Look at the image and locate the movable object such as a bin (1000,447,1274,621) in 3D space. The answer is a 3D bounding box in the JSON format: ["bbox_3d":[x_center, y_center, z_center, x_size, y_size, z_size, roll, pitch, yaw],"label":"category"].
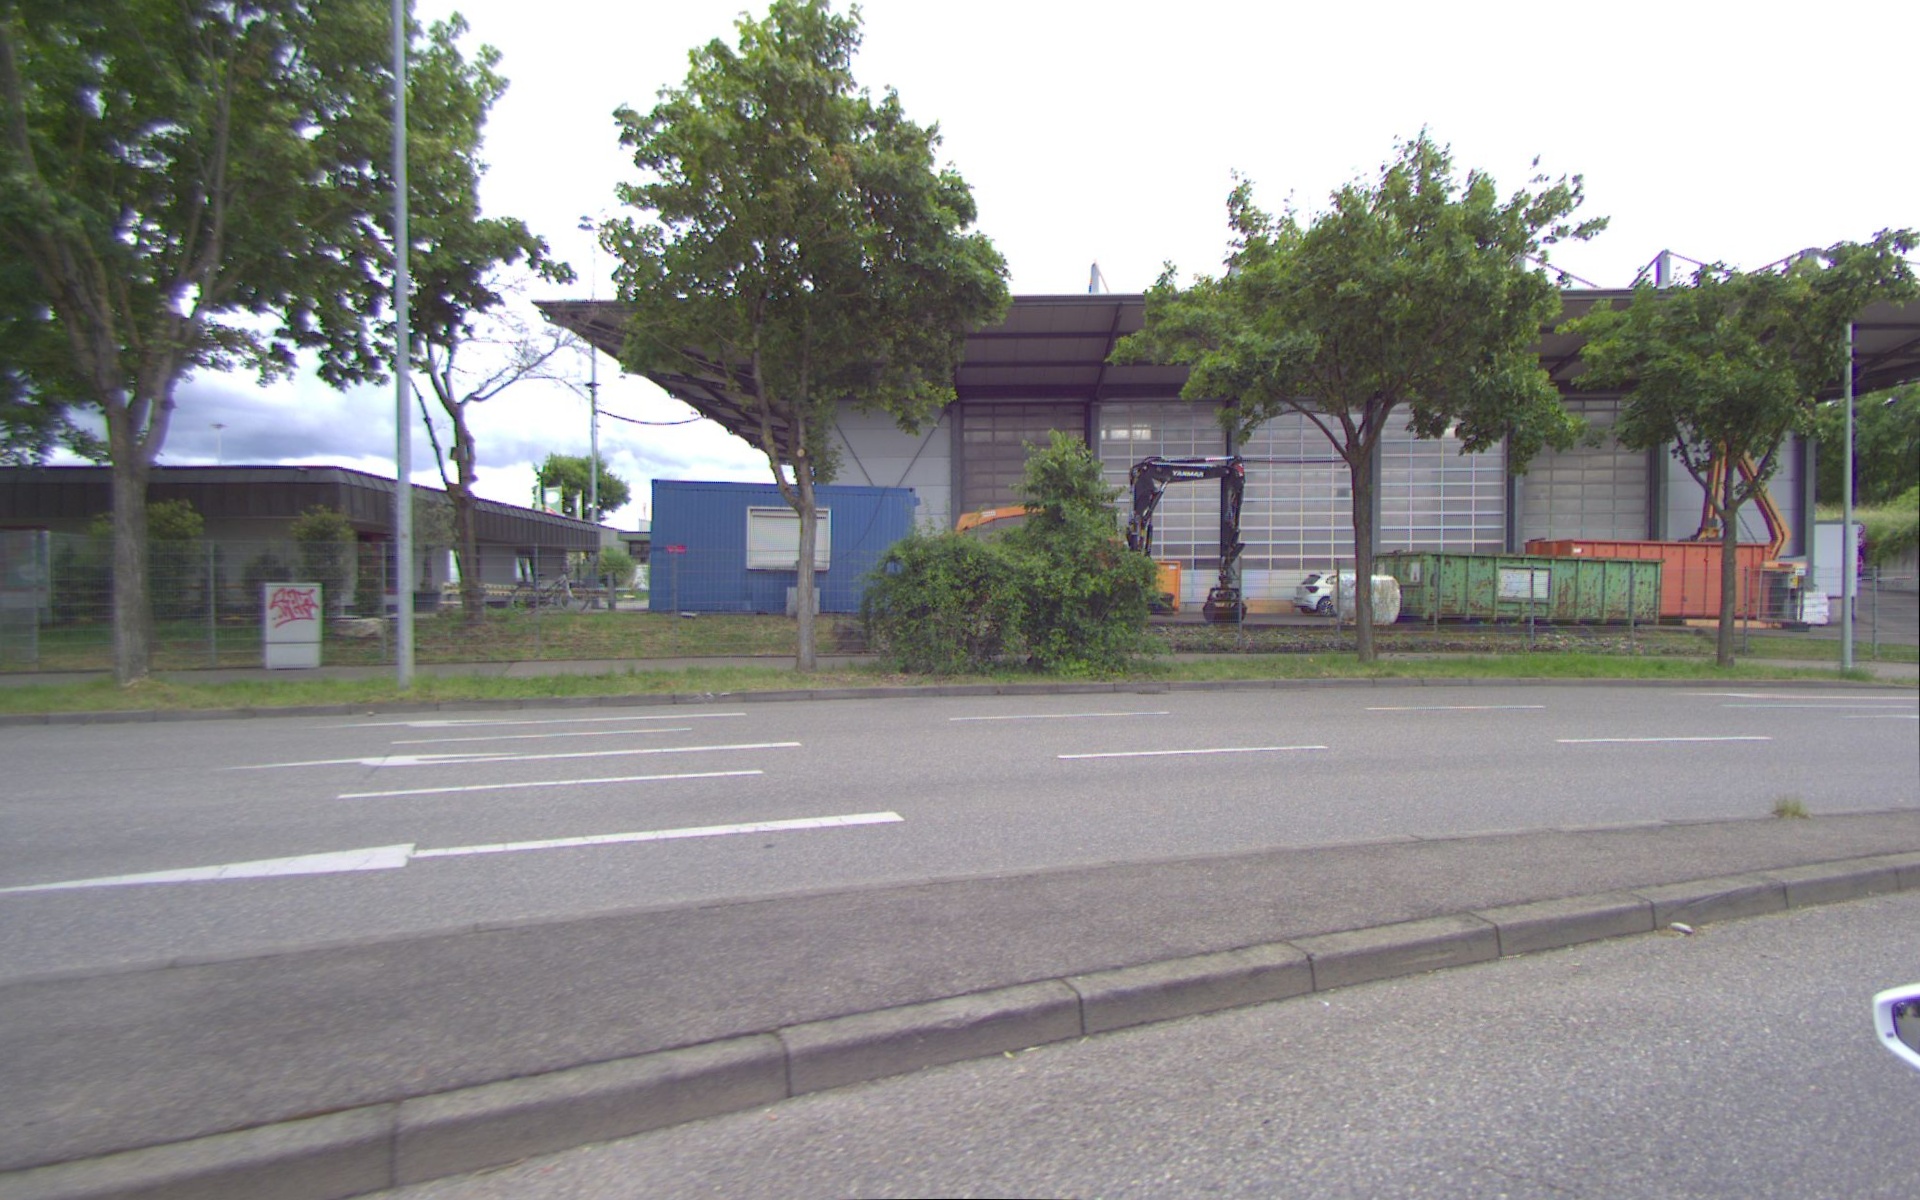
[{"bbox_3d":[4.391,-1.594,25.714,6.429,4.146,2.731,0,0,-6],"label":"movable object such as a bin"}]

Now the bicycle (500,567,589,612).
[{"bbox_3d":[-9.374,-0.237,22.725,1.728,0.987,0.662,0,0,-6],"label":"bicycle"}]

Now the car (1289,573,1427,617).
[{"bbox_3d":[13.308,-0.165,33.749,3.920,1.392,1.738,0,1,2],"label":"car"}]
